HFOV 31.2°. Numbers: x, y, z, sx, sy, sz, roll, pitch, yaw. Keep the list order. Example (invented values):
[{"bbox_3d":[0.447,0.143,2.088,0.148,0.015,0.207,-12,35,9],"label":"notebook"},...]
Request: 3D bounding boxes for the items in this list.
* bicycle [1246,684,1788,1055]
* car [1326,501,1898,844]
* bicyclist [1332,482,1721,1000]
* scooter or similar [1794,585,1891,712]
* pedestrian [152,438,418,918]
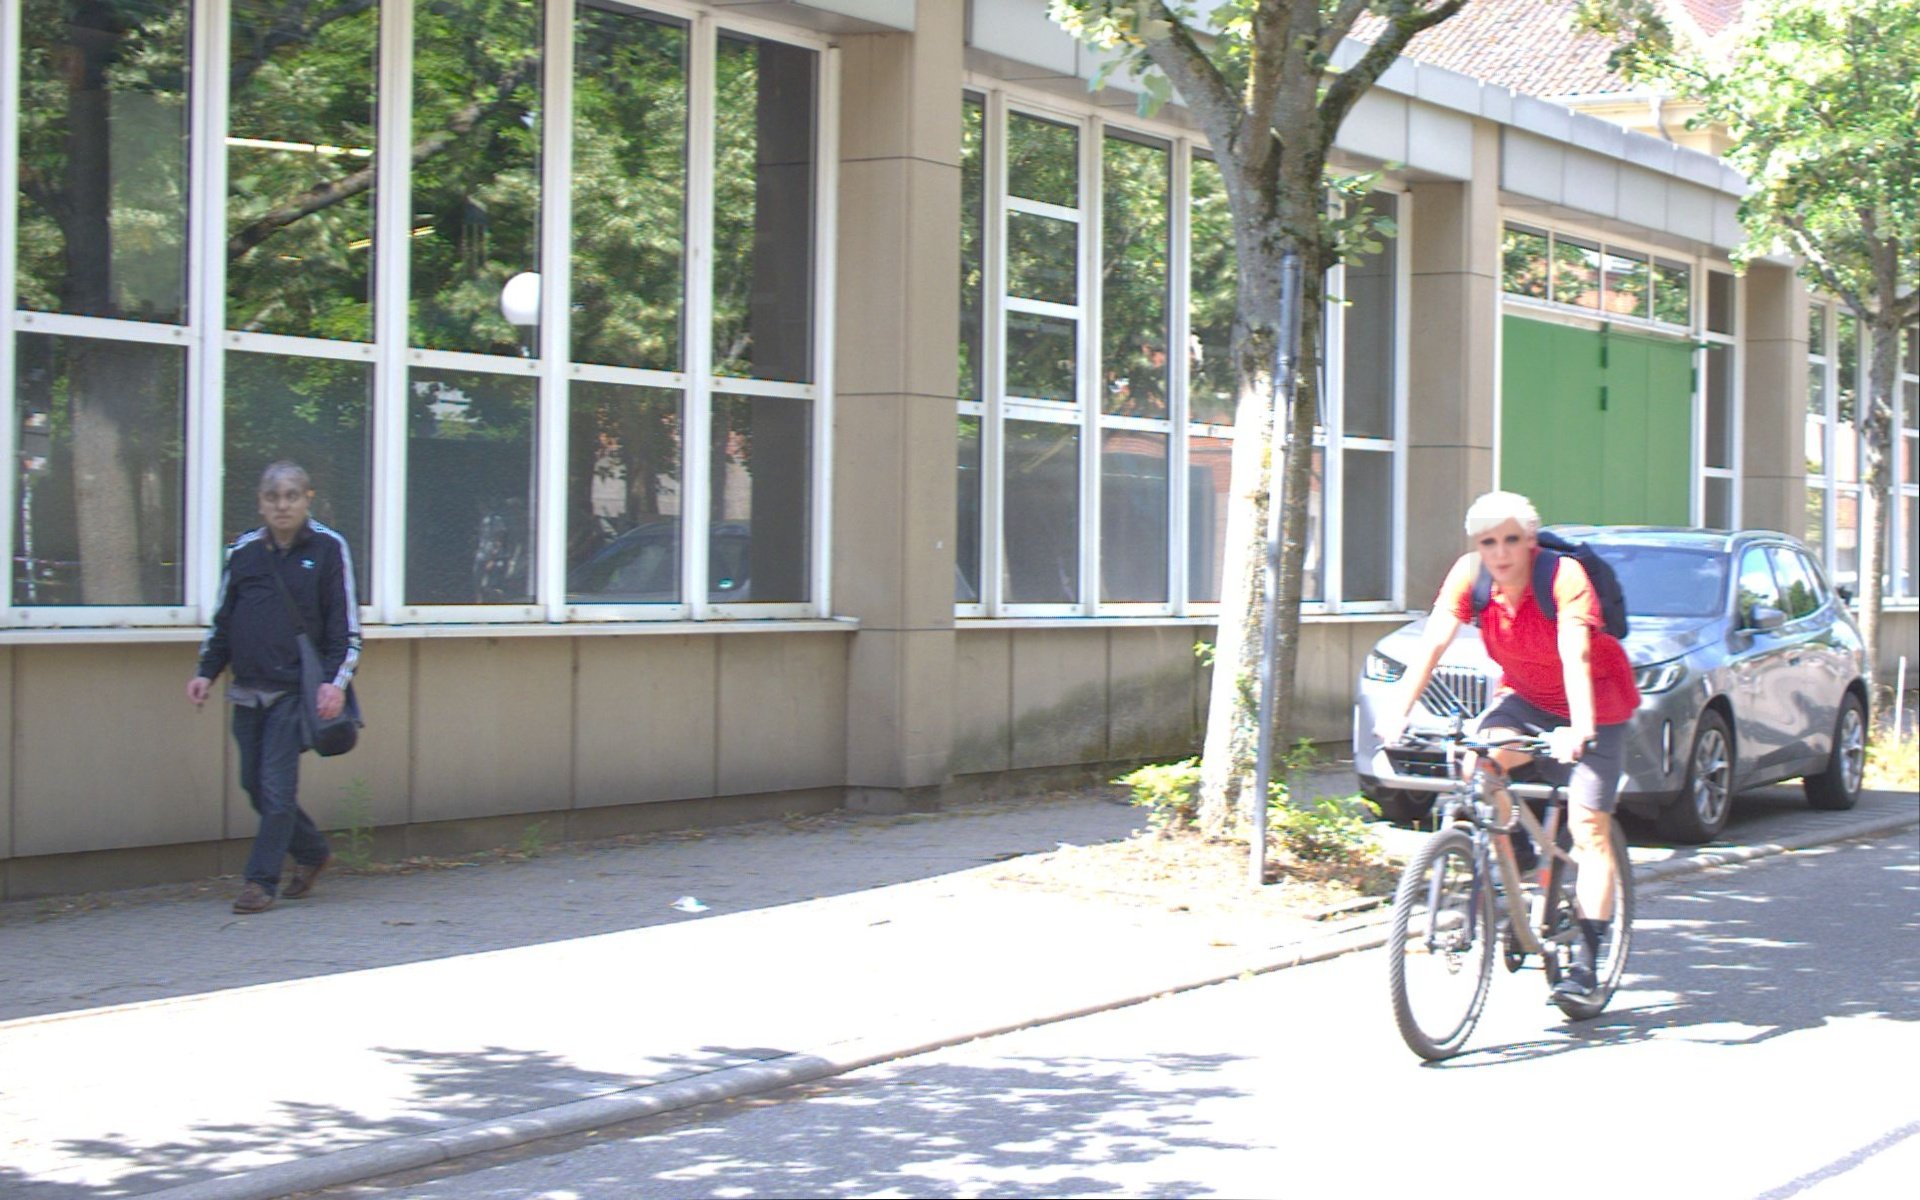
[{"bbox_3d":[1.803,0.841,10.874,0.818,1.038,1.927,1,-3,38],"label":"bicycle"},{"bbox_3d":[3.825,0.356,19.497,1.825,1.627,4.510,4,1,28],"label":"car"},{"bbox_3d":[1.792,0.419,10.836,0.837,1.538,0.957,0,0,39],"label":"bicyclist"},{"bbox_3d":[8.404,0.452,32.715,0.506,1.165,1.213,3,1,31],"label":"scooter or similar"},{"bbox_3d":[-2.608,0.283,13.326,0.788,1.781,0.670,2,2,8],"label":"pedestrian"}]
